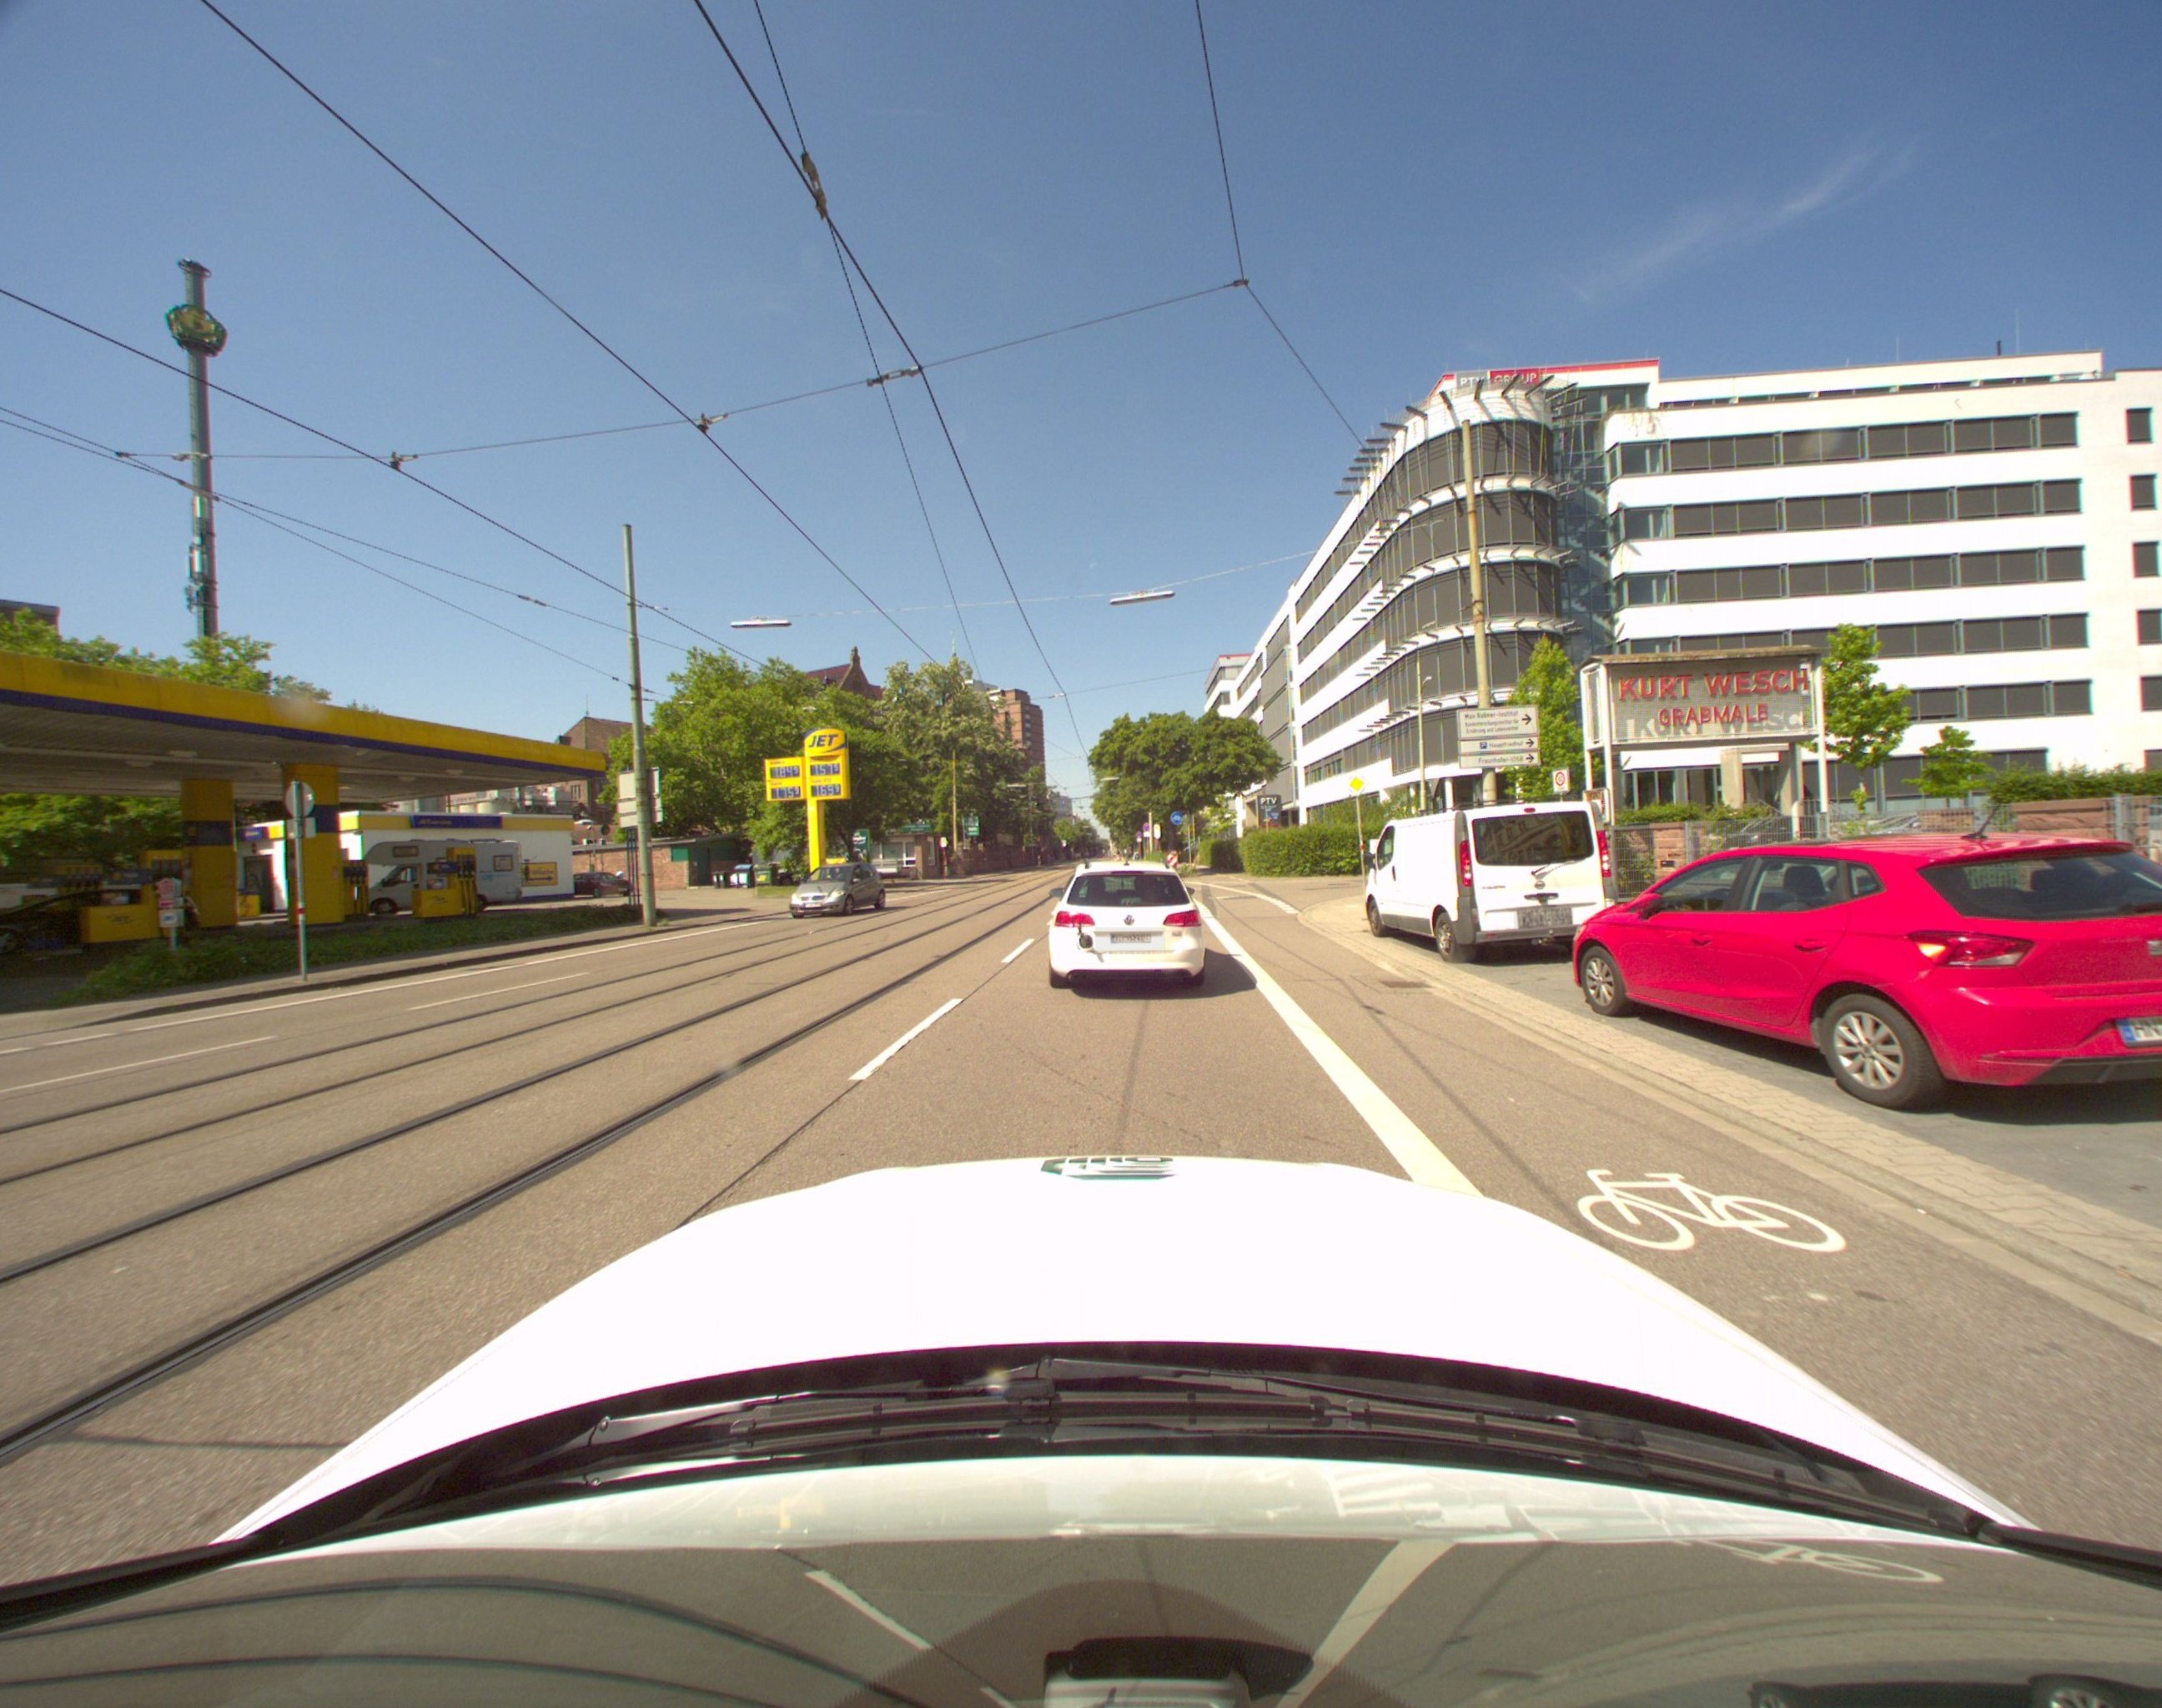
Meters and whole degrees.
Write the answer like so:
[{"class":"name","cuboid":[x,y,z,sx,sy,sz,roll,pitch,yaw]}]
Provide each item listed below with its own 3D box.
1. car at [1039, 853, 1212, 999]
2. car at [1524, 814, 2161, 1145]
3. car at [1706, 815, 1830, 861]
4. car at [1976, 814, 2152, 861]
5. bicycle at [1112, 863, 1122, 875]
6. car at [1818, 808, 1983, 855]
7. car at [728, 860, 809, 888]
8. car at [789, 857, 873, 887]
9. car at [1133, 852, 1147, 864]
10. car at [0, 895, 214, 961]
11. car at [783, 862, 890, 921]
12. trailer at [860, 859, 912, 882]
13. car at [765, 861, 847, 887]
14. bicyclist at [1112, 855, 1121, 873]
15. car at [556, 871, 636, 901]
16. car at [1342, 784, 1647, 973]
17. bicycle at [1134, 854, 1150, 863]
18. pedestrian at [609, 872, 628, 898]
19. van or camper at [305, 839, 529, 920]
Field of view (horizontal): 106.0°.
[{"class":"car","cuboid":[0.578,0.739,10.533,1.746,1.442,4.416,-1,0,3]},{"class":"car","cuboid":[5.185,0.567,5.908,1.714,1.443,4.316,-4,0,3]},{"class":"car","cuboid":[24.113,-0.551,28.647,2.893,1.411,1.659,-3,0,3]},{"class":"car","cuboid":[34.343,-0.557,28.538,3.970,1.426,1.659,-3,0,3]},{"class":"bicycle","cuboid":[3.286,1.354,74.334,0.807,1.078,2.014,-2,0,3]},{"class":"car","cuboid":[28.701,-0.775,28.618,3.970,1.426,1.659,-3,0,3]},{"class":"car","cuboid":[-20.662,1.316,53.960,4.604,1.583,1.926,-2,0,-43]},{"class":"car","cuboid":[-15.738,1.124,51.380,4.605,1.625,1.926,-2,0,-43]},{"class":"car","cuboid":[7.432,0.471,102.479,1.584,1.451,3.949,-3,0,3]},{"class":"car","cuboid":[-25.168,1.820,20.394,1.681,1.303,4.417,-1,0,27]},{"class":"car","cuboid":[-7.526,1.112,25.468,1.737,1.571,3.898,-4,-1,6]},{"class":"trailer","cuboid":[-14.214,1.198,59.444,3.201,1.525,1.779,-2,0,3]},{"class":"car","cuboid":[-17.797,1.272,52.848,4.605,1.467,1.926,-2,0,-43]},{"class":"bicyclist","cuboid":[3.269,0.930,74.408,0.782,1.629,0.739,-2,0,3]},{"class":"car","cuboid":[-27.099,1.784,45.527,4.118,1.527,1.949,-2,-1,28]},{"class":"car","cuboid":[5.625,0.285,12.052,1.968,2.054,5.195,-4,0,3]},{"class":"bicycle","cuboid":[7.244,0.563,96.507,1.905,1.083,0.550,-1,0,0]},{"class":"pedestrian","cuboid":[-27.333,1.822,48.162,0.672,1.468,0.641,-2,0,11]},{"class":"van or camper","cuboid":[-26.519,0.954,33.028,6.737,2.967,2.590,0,0,-33]}]
